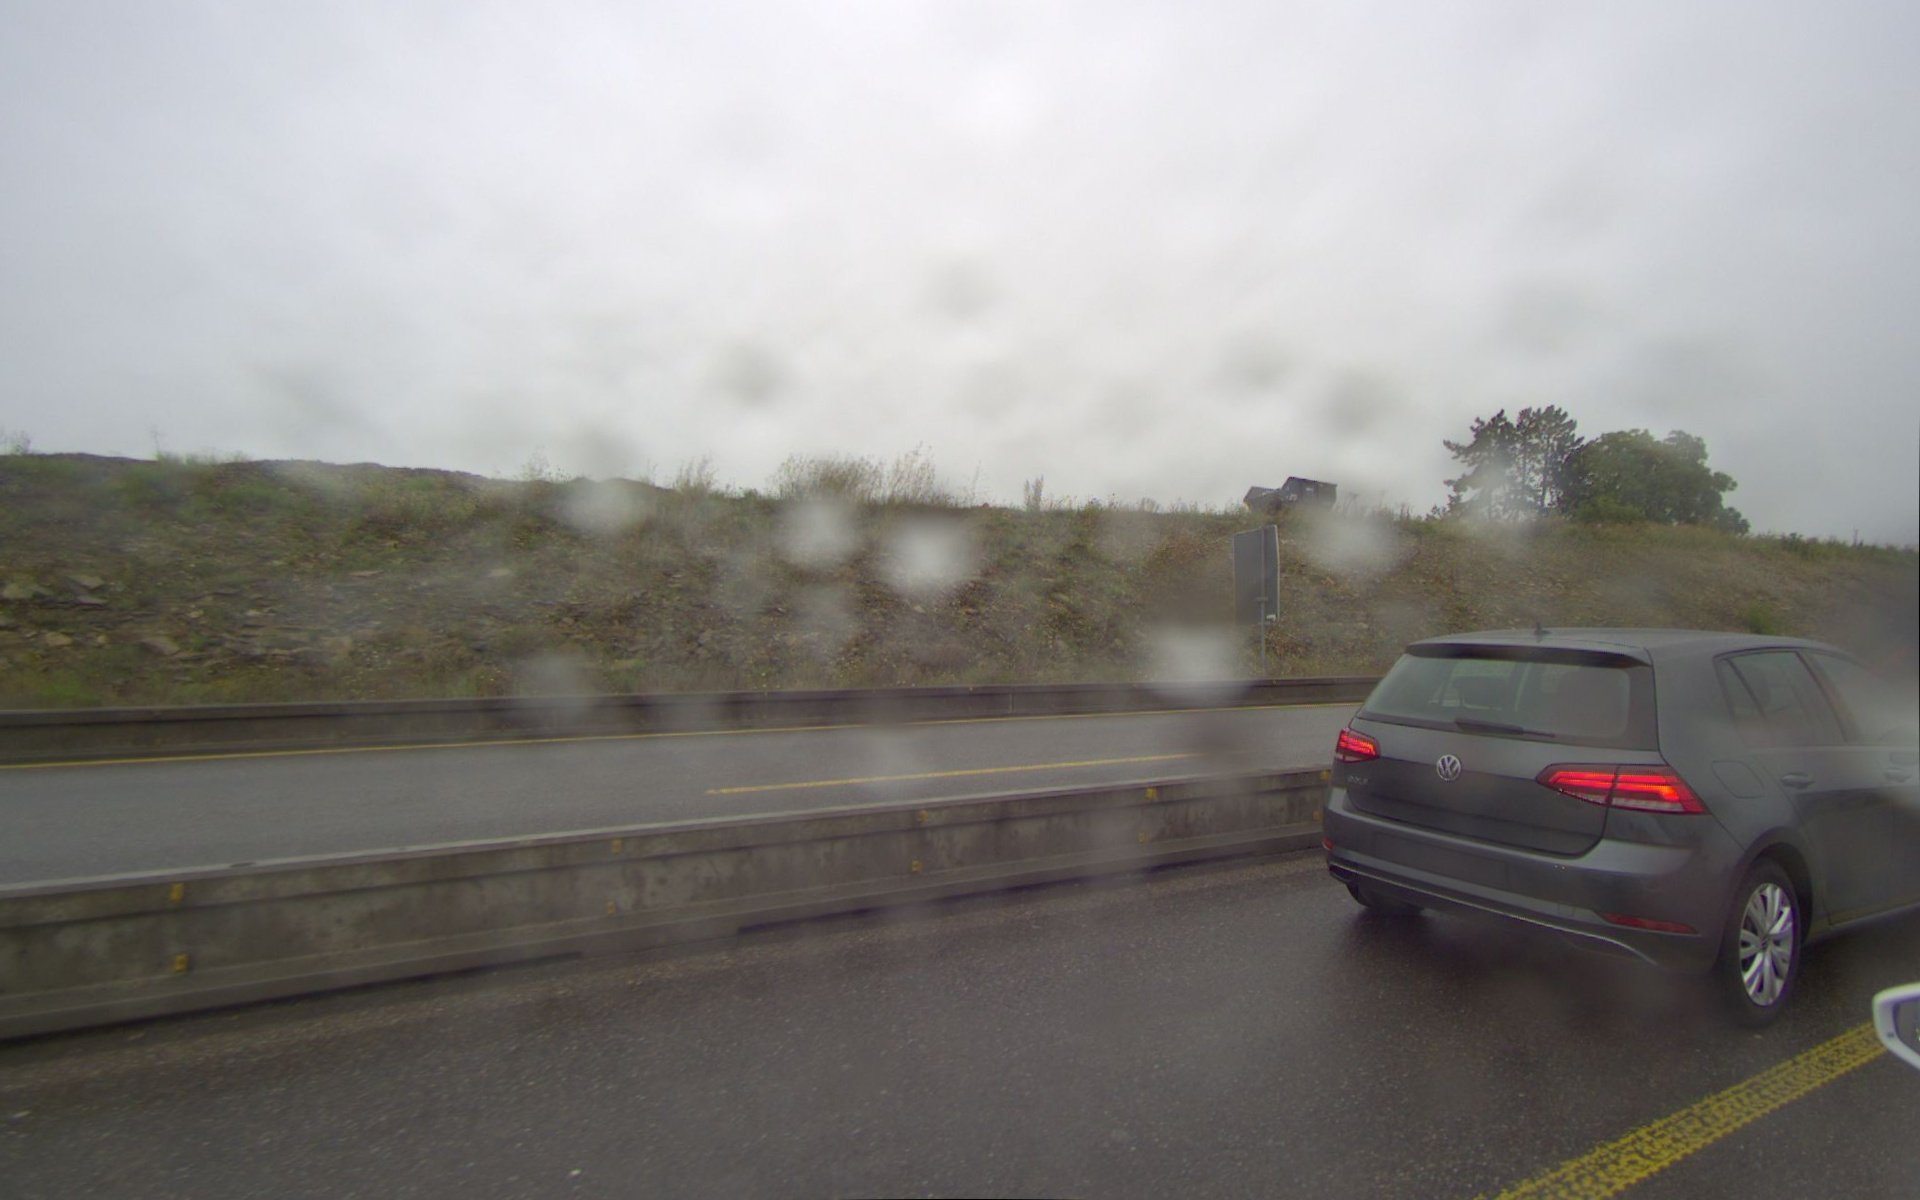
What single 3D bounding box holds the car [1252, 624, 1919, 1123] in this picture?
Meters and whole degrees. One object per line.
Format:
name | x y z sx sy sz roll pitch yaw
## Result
car | 3.559 0.904 4.894 4.317 1.526 1.606 1 -2 -31
